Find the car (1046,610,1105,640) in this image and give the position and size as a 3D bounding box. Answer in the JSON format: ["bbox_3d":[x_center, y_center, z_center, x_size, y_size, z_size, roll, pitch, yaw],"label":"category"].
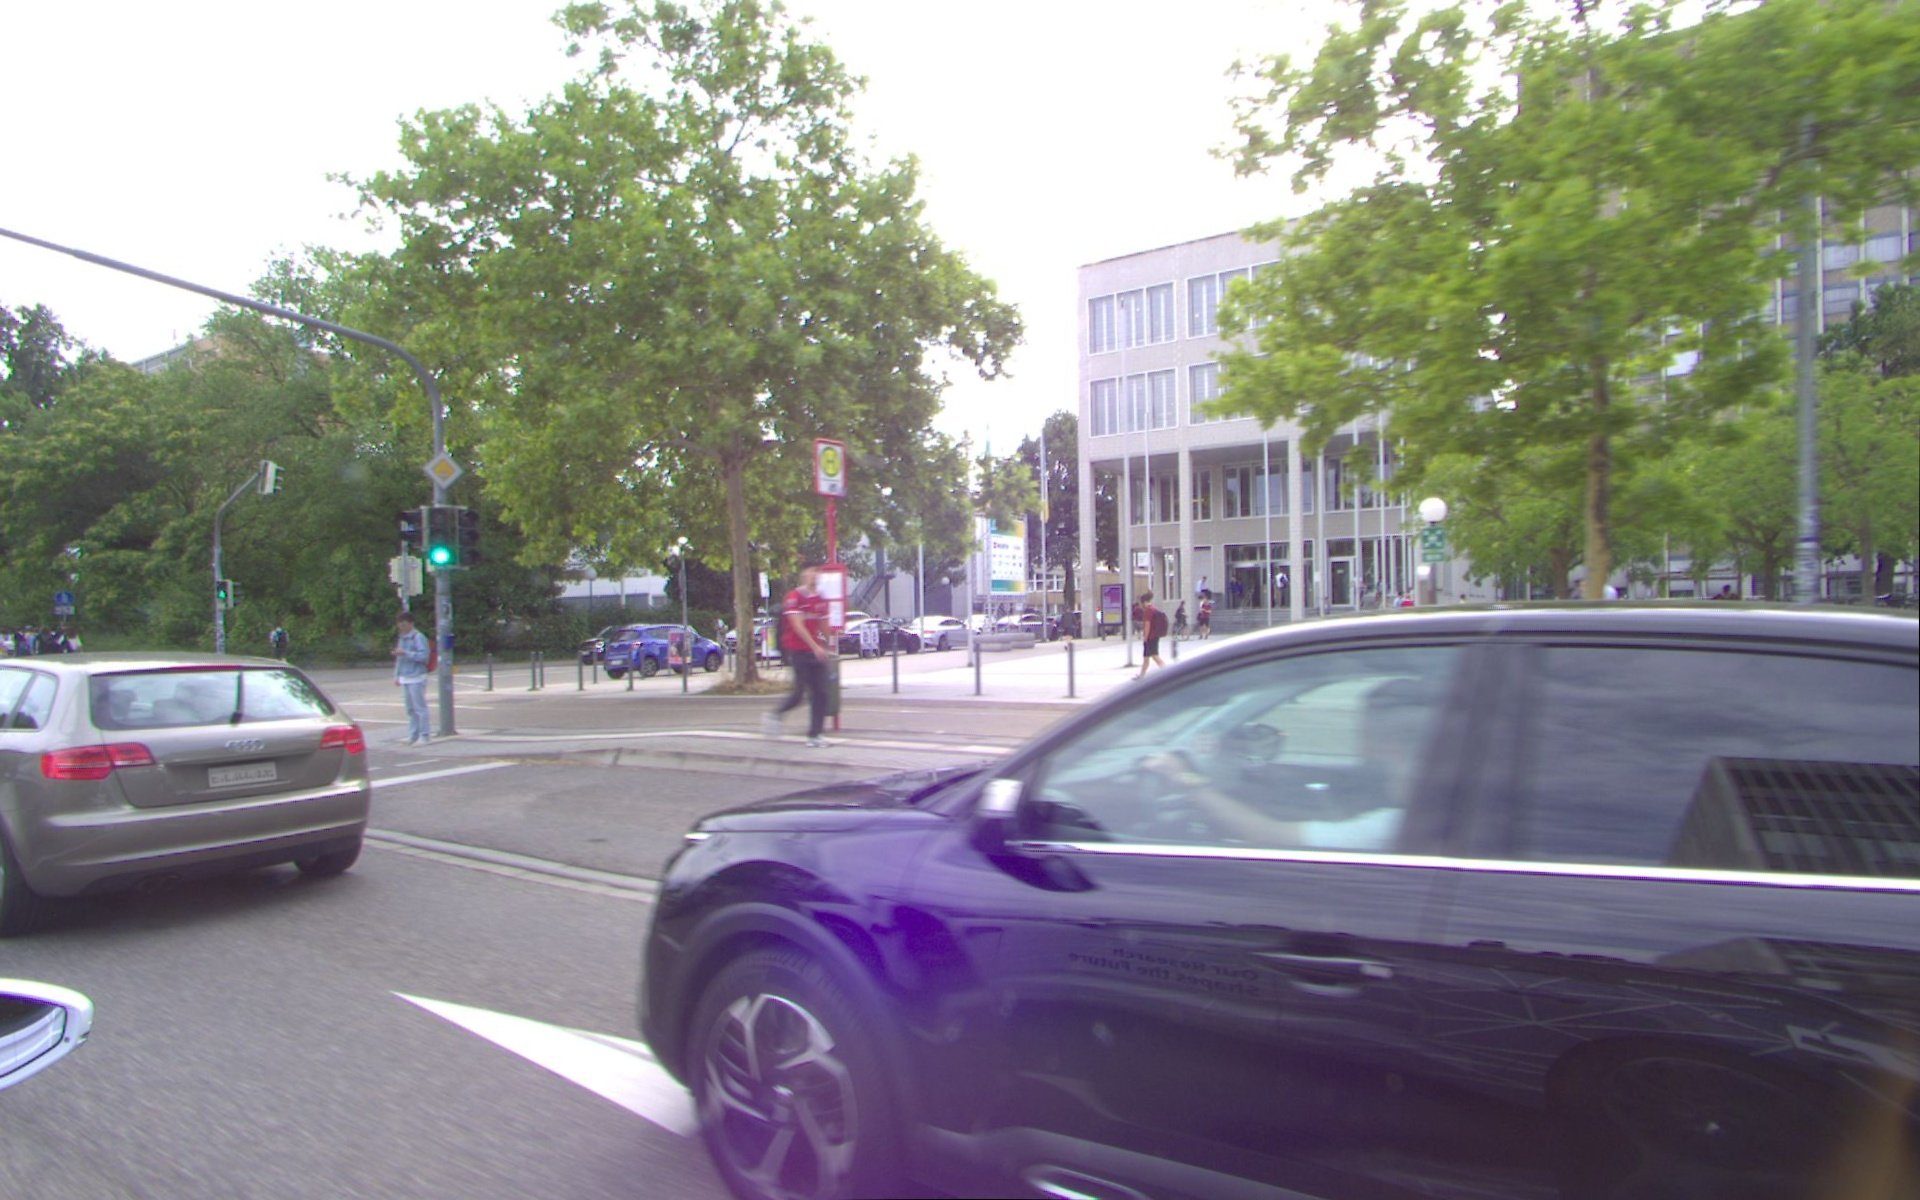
[{"bbox_3d":[6.342,1.349,54.593,1.651,1.587,3.969,-2,-2,32],"label":"car"}]

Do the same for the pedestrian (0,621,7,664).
[{"bbox_3d":[-39.892,1.758,41.479,0.655,1.787,0.482,-1,0,36],"label":"pedestrian"}]

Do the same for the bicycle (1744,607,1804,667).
[{"bbox_3d":[16.708,0.742,20.598,0.708,1.157,2.460,-1,-1,34],"label":"bicycle"}]

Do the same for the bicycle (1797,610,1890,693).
[{"bbox_3d":[13.361,0.735,15.210,0.708,1.157,2.460,-1,-1,34],"label":"bicycle"}]

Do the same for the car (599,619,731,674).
[{"bbox_3d":[-8.722,1.364,29.824,1.651,1.510,3.564,-2,-2,32],"label":"car"}]

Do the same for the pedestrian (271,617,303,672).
[{"bbox_3d":[-22.929,1.507,34.126,0.730,1.819,0.643,-1,0,34],"label":"pedestrian"}]

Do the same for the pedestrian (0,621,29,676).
[{"bbox_3d":[-31.088,1.587,32.831,0.769,1.768,0.622,-1,0,34],"label":"pedestrian"}]

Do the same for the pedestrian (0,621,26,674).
[{"bbox_3d":[-32.517,1.623,34.293,0.779,1.768,0.579,-1,0,34],"label":"pedestrian"}]

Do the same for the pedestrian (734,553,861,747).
[{"bbox_3d":[-1.667,0.501,10.283,1.049,1.877,0.724,-1,0,31],"label":"pedestrian"}]

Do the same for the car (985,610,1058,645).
[{"bbox_3d":[3.067,1.328,49.198,1.790,1.587,4.207,-2,-2,32],"label":"car"}]

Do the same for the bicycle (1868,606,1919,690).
[{"bbox_3d":[14.061,0.667,14.698,0.708,1.157,2.460,-1,-1,34],"label":"bicycle"}]

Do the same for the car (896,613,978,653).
[{"bbox_3d":[-0.916,1.385,42.596,1.651,1.587,3.812,-2,-2,32],"label":"car"}]

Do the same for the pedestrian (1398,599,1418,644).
[{"bbox_3d":[16.350,0.796,36.571,0.592,1.617,0.726,-1,-1,20],"label":"pedestrian"}]

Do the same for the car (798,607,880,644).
[{"bbox_3d":[-5.904,1.254,49.401,1.661,1.714,4.272,-2,-2,33],"label":"car"}]

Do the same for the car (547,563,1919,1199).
[{"bbox_3d":[1.026,0.787,2.386,4.120,1.576,1.795,-1,-2,35],"label":"car"}]

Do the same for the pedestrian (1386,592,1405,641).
[{"bbox_3d":[16.860,0.655,38.756,0.592,1.867,0.727,-1,-1,18],"label":"pedestrian"}]

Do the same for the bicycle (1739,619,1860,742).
[{"bbox_3d":[8.946,0.793,10.760,0.708,1.157,2.460,-1,-1,34],"label":"bicycle"}]

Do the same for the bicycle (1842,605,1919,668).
[{"bbox_3d":[18.057,0.695,19.693,0.708,1.157,2.460,-1,-1,34],"label":"bicycle"}]

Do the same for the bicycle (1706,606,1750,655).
[{"bbox_3d":[19.247,0.751,25.130,0.708,1.157,2.460,-1,-1,34],"label":"bicycle"}]

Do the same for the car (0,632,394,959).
[{"bbox_3d":[-5.466,0.969,6.326,3.682,1.476,1.721,-1,-1,31],"label":"car"}]

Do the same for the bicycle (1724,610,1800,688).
[{"bbox_3d":[12.757,0.742,15.983,0.708,1.157,2.460,-1,-1,34],"label":"bicycle"}]

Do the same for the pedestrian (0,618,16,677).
[{"bbox_3d":[-30.764,1.519,31.943,0.815,1.876,0.645,-1,-1,22],"label":"pedestrian"}]

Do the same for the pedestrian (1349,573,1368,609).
[{"bbox_3d":[19.530,-0.423,49.064,0.665,1.736,0.627,1,-2,-40],"label":"pedestrian"}]

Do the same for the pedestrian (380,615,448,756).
[{"bbox_3d":[-7.408,1.137,13.587,0.673,1.840,0.571,-1,0,36],"label":"pedestrian"}]

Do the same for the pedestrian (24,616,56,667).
[{"bbox_3d":[-32.430,1.465,35.296,0.769,1.768,0.655,-1,0,34],"label":"pedestrian"}]

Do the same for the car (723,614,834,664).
[{"bbox_3d":[-6.092,1.295,34.016,1.651,1.587,3.676,-2,-2,32],"label":"car"}]

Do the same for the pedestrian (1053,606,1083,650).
[{"bbox_3d":[4.249,1.100,39.390,0.944,1.730,0.696,1,-2,-39],"label":"pedestrian"}]

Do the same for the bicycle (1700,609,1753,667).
[{"bbox_3d":[16.074,0.767,21.040,0.708,1.157,2.460,-1,-1,34],"label":"bicycle"}]

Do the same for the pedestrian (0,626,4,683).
[{"bbox_3d":[-29.220,1.645,30.121,0.628,1.709,0.544,-1,0,34],"label":"pedestrian"}]

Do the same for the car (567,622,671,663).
[{"bbox_3d":[-13.182,1.634,38.833,1.661,1.460,3.563,-2,-2,33],"label":"car"}]

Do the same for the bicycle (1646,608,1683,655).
[{"bbox_3d":[18.159,0.791,25.849,0.708,1.157,2.460,-1,-1,34],"label":"bicycle"}]

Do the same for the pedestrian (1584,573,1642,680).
[{"bbox_3d":[12.332,0.498,18.933,0.591,1.988,0.686,0,-1,-7],"label":"pedestrian"}]

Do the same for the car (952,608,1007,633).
[{"bbox_3d":[1.245,1.269,62.290,1.661,1.460,3.763,-2,-2,33],"label":"car"}]

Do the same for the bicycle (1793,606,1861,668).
[{"bbox_3d":[17.395,0.721,20.141,0.708,1.157,2.460,-1,-1,34],"label":"bicycle"}]

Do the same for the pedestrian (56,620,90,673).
[{"bbox_3d":[-30.139,1.578,34.023,0.769,1.768,0.655,-1,0,34],"label":"pedestrian"}]

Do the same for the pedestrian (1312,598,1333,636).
[{"bbox_3d":[15.890,0.742,43.913,0.625,1.661,0.599,1,-2,-34],"label":"pedestrian"}]

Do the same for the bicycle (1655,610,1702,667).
[{"bbox_3d":[15.396,0.795,21.503,0.708,1.157,2.460,-1,-1,34],"label":"bicycle"}]

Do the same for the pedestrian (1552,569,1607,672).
[{"bbox_3d":[12.237,0.407,19.791,0.591,1.988,0.686,0,-1,-7],"label":"pedestrian"}]

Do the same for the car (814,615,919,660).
[{"bbox_3d":[-3.481,1.406,38.083,1.651,1.587,4.430,-2,-2,32],"label":"car"}]

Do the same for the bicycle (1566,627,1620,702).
[{"bbox_3d":[10.851,1.068,17.139,0.708,1.157,2.460,-1,-1,34],"label":"bicycle"}]

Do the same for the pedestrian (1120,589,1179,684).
[{"bbox_3d":[3.733,0.719,19.731,0.880,1.827,0.764,-1,-2,38],"label":"pedestrian"}]

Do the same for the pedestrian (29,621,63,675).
[{"bbox_3d":[-30.565,1.585,33.476,0.769,1.768,0.655,-1,0,34],"label":"pedestrian"}]
